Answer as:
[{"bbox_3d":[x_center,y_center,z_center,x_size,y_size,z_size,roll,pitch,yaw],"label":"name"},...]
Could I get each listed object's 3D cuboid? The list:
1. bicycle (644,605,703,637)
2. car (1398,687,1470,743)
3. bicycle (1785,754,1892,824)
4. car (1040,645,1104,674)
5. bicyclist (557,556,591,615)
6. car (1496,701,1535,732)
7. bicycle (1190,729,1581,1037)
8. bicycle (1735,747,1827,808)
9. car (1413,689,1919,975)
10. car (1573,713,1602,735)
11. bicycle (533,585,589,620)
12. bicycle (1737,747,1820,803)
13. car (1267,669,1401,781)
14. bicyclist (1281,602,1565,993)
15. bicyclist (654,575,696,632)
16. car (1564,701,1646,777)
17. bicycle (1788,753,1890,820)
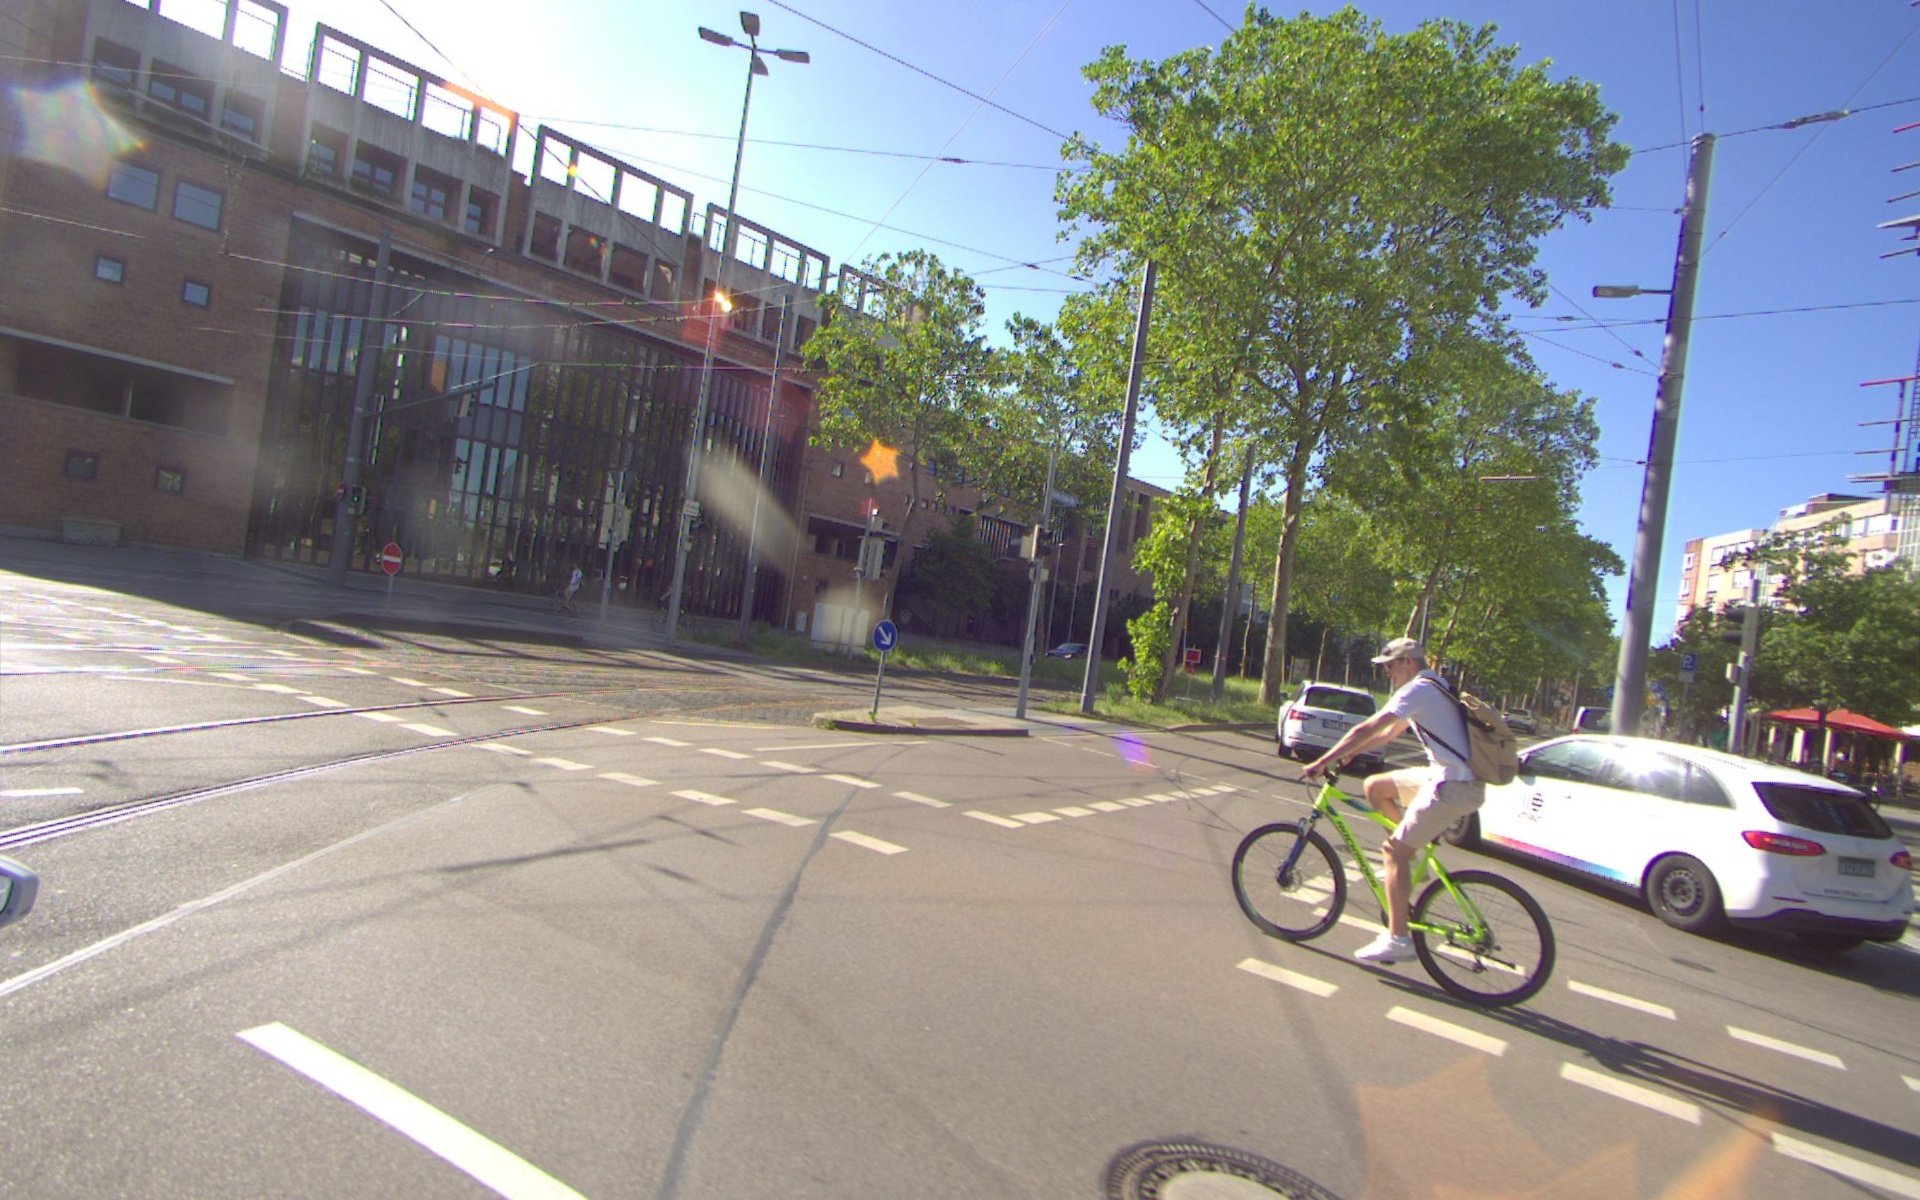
[{"bbox_3d":[-8.984,0.665,31.608,0.662,0.816,1.671,7,-2,33],"label":"bicycle"},{"bbox_3d":[17.548,4.265,37.130,1.880,1.600,3.999,10,-2,31],"label":"car"},{"bbox_3d":[20.030,4.295,22.972,1.705,1.234,0.467,7,0,39],"label":"bicycle"},{"bbox_3d":[6.534,3.480,58.577,1.713,1.281,3.986,7,-2,39],"label":"car"},{"bbox_3d":[-13.285,-0.502,34.609,0.639,1.906,0.607,7,0,27],"label":"bicyclist"},{"bbox_3d":[34.890,7.306,63.108,1.880,1.602,3.995,7,-2,31],"label":"car"},{"bbox_3d":[2.262,1.428,5.496,1.733,1.123,0.648,8,0,41],"label":"bicycle"},{"bbox_3d":[21.033,4.529,25.824,1.705,1.234,0.467,7,0,39],"label":"bicycle"},{"bbox_3d":[6.725,2.033,9.853,1.883,1.602,4.127,10,-1,-13],"label":"car"},{"bbox_3d":[55.316,10.912,88.736,1.880,1.602,3.995,7,-2,31],"label":"car"},{"bbox_3d":[-13.571,0.093,34.243,0.661,1.006,1.674,7,-1,25],"label":"bicycle"},{"bbox_3d":[23.084,4.918,28.413,1.705,1.234,0.467,7,0,39],"label":"bicycle"},{"bbox_3d":[7.126,2.326,18.895,1.878,1.558,4.141,8,-3,25],"label":"car"},{"bbox_3d":[2.460,0.977,5.373,1.030,1.773,0.648,8,0,40],"label":"bicyclist"},{"bbox_3d":[-8.932,0.109,31.565,0.661,1.649,0.864,7,-1,33],"label":"bicyclist"},{"bbox_3d":[19.559,4.163,30.462,1.792,1.873,4.381,7,-2,34],"label":"car"},{"bbox_3d":[20.944,4.429,24.021,1.705,1.234,0.467,7,0,39],"label":"bicycle"}]
